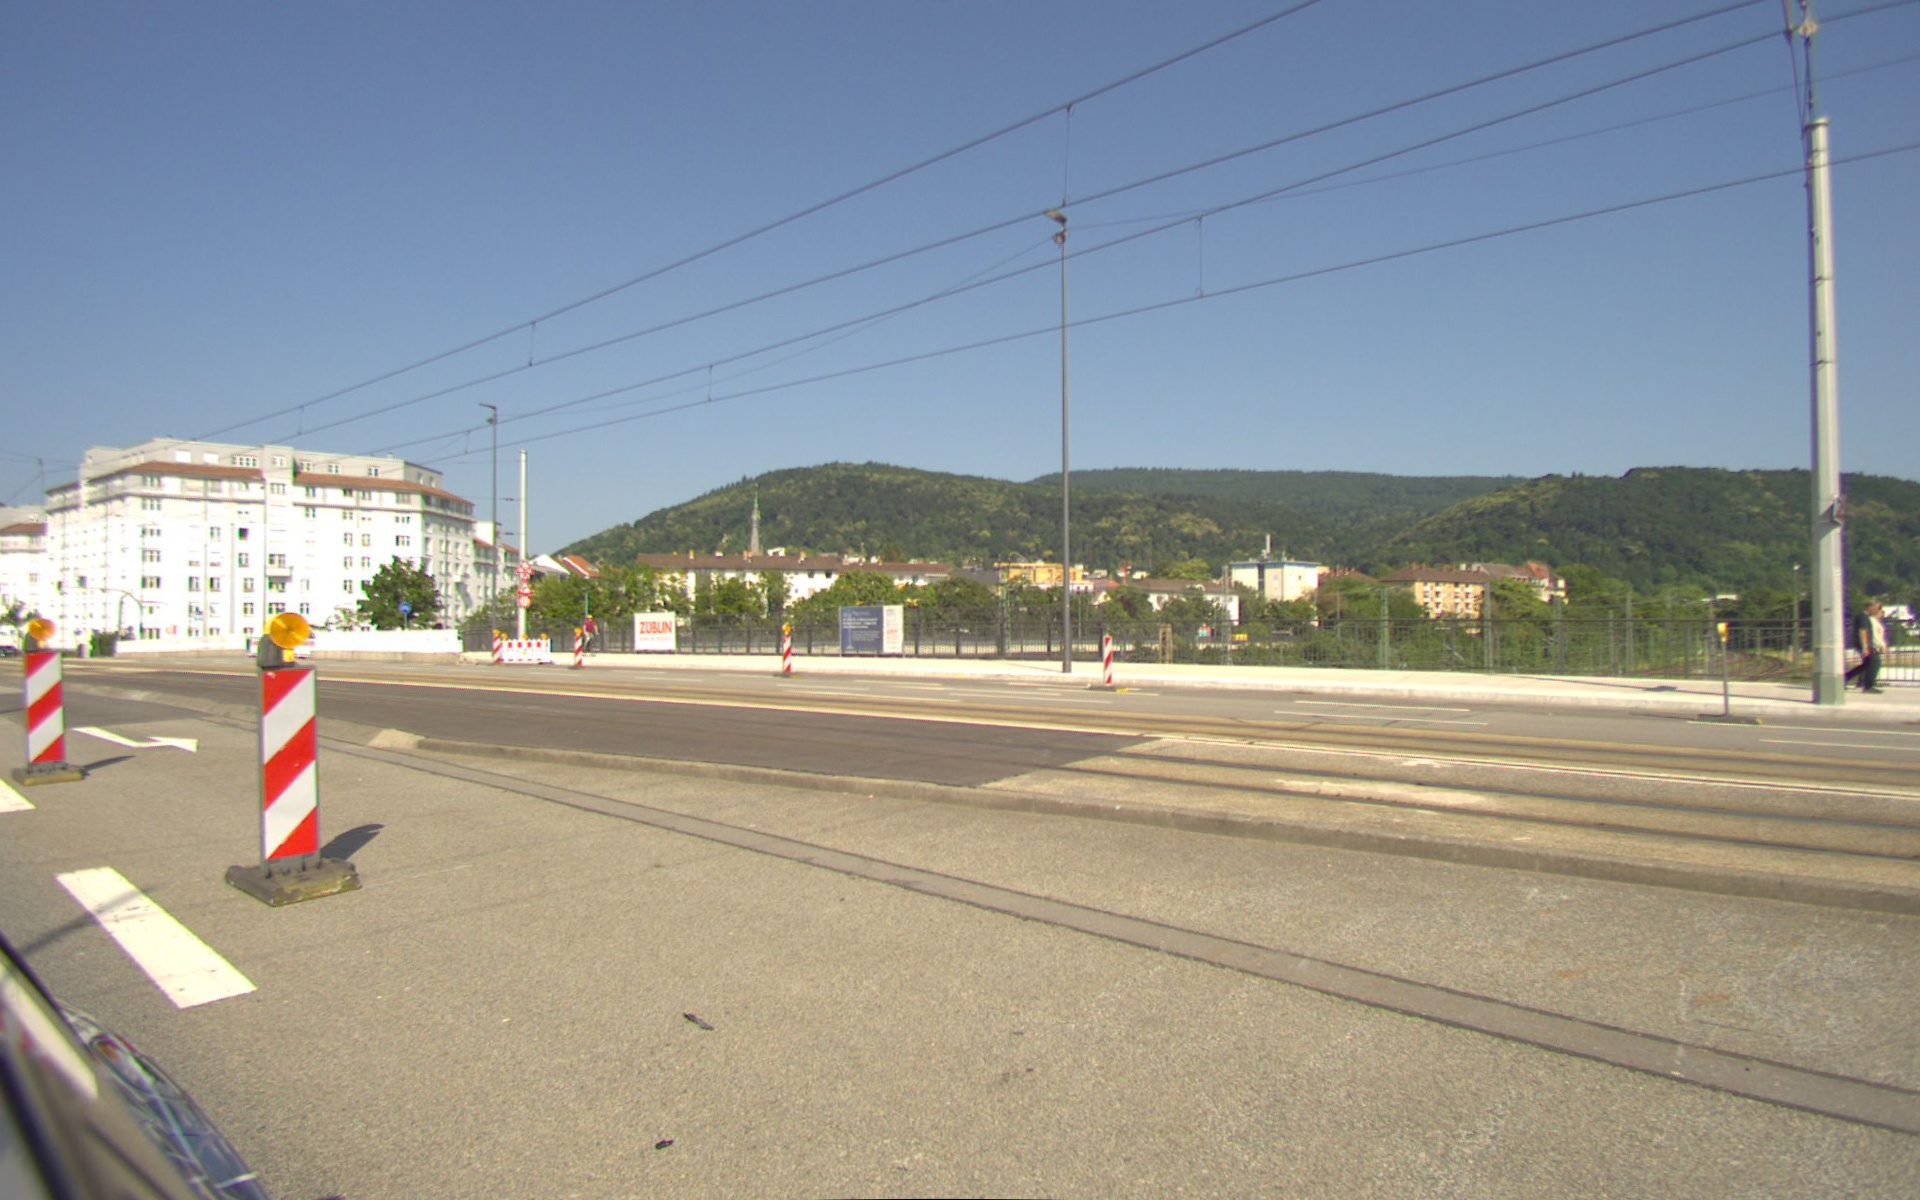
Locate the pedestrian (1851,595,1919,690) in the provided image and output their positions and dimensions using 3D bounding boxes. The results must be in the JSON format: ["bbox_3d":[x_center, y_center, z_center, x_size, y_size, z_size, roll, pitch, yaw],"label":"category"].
[{"bbox_3d":[16.773,0.752,18.330,0.894,1.654,0.736,-2,0,40],"label":"pedestrian"}]

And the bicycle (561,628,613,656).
[{"bbox_3d":[-17.496,1.958,47.427,3.069,1.204,0.847,-2,-1,40],"label":"bicycle"}]

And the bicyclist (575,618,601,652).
[{"bbox_3d":[-17.401,1.644,47.348,0.816,1.530,0.847,-2,-1,39],"label":"bicyclist"}]

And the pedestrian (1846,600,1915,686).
[{"bbox_3d":[17.335,0.803,19.075,0.888,1.556,0.712,-2,0,40],"label":"pedestrian"}]
